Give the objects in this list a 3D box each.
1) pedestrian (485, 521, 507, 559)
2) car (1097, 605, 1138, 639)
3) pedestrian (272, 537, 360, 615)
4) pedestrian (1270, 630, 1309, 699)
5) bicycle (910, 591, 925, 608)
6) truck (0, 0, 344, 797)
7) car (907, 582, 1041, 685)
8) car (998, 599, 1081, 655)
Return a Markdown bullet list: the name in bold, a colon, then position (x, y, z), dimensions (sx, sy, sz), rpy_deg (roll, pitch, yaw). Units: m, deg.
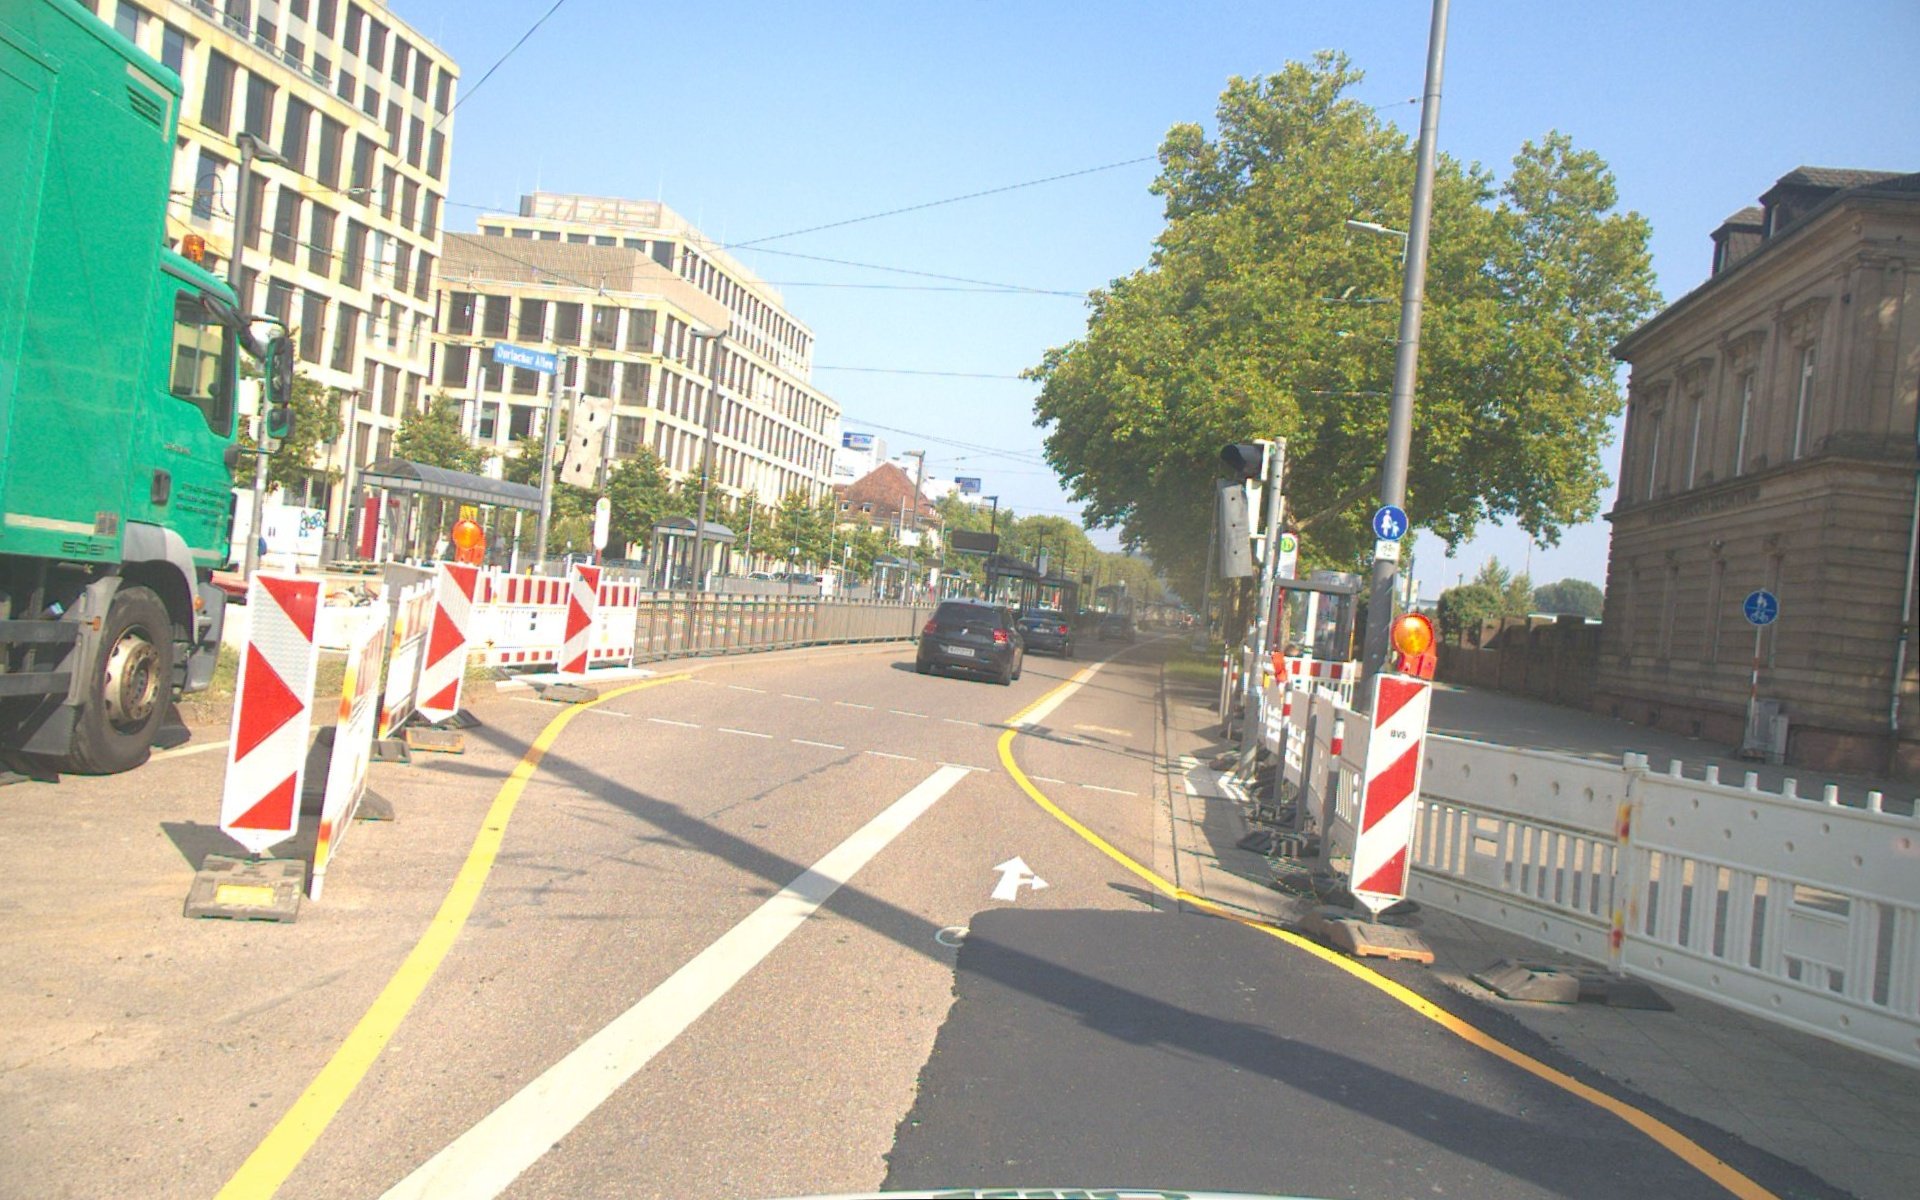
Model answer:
- **pedestrian**: position (-24.657, -3.197, 87.881), dimensions (0.776, 1.950, 0.838), rpy_deg (3, -2, 2)
- **car**: position (8.298, 1.171, 86.924), dimensions (1.867, 1.563, 4.003), rpy_deg (6, 0, 8)
- **pedestrian**: position (-8.714, -0.319, 22.408), dimensions (0.686, 0.971, 0.882), rpy_deg (5, 0, 8)
- **pedestrian**: position (6.459, 1.260, 32.487), dimensions (0.595, 1.299, 0.759), rpy_deg (4, 0, 6)
- **bicycle**: position (-3.267, -0.026, 128.107), dimensions (0.462, 1.167, 1.483), rpy_deg (6, 0, 23)
- **truck**: position (-5.403, -1.161, 6.154), dimensions (2.752, 3.853, 9.013), rpy_deg (5, 1, -1)
- **car**: position (0.343, 0.606, 31.212), dimensions (1.868, 1.563, 4.003), rpy_deg (8, 0, 8)
- **car**: position (2.517, 0.825, 51.246), dimensions (1.952, 1.466, 4.003), rpy_deg (6, 0, 10)
